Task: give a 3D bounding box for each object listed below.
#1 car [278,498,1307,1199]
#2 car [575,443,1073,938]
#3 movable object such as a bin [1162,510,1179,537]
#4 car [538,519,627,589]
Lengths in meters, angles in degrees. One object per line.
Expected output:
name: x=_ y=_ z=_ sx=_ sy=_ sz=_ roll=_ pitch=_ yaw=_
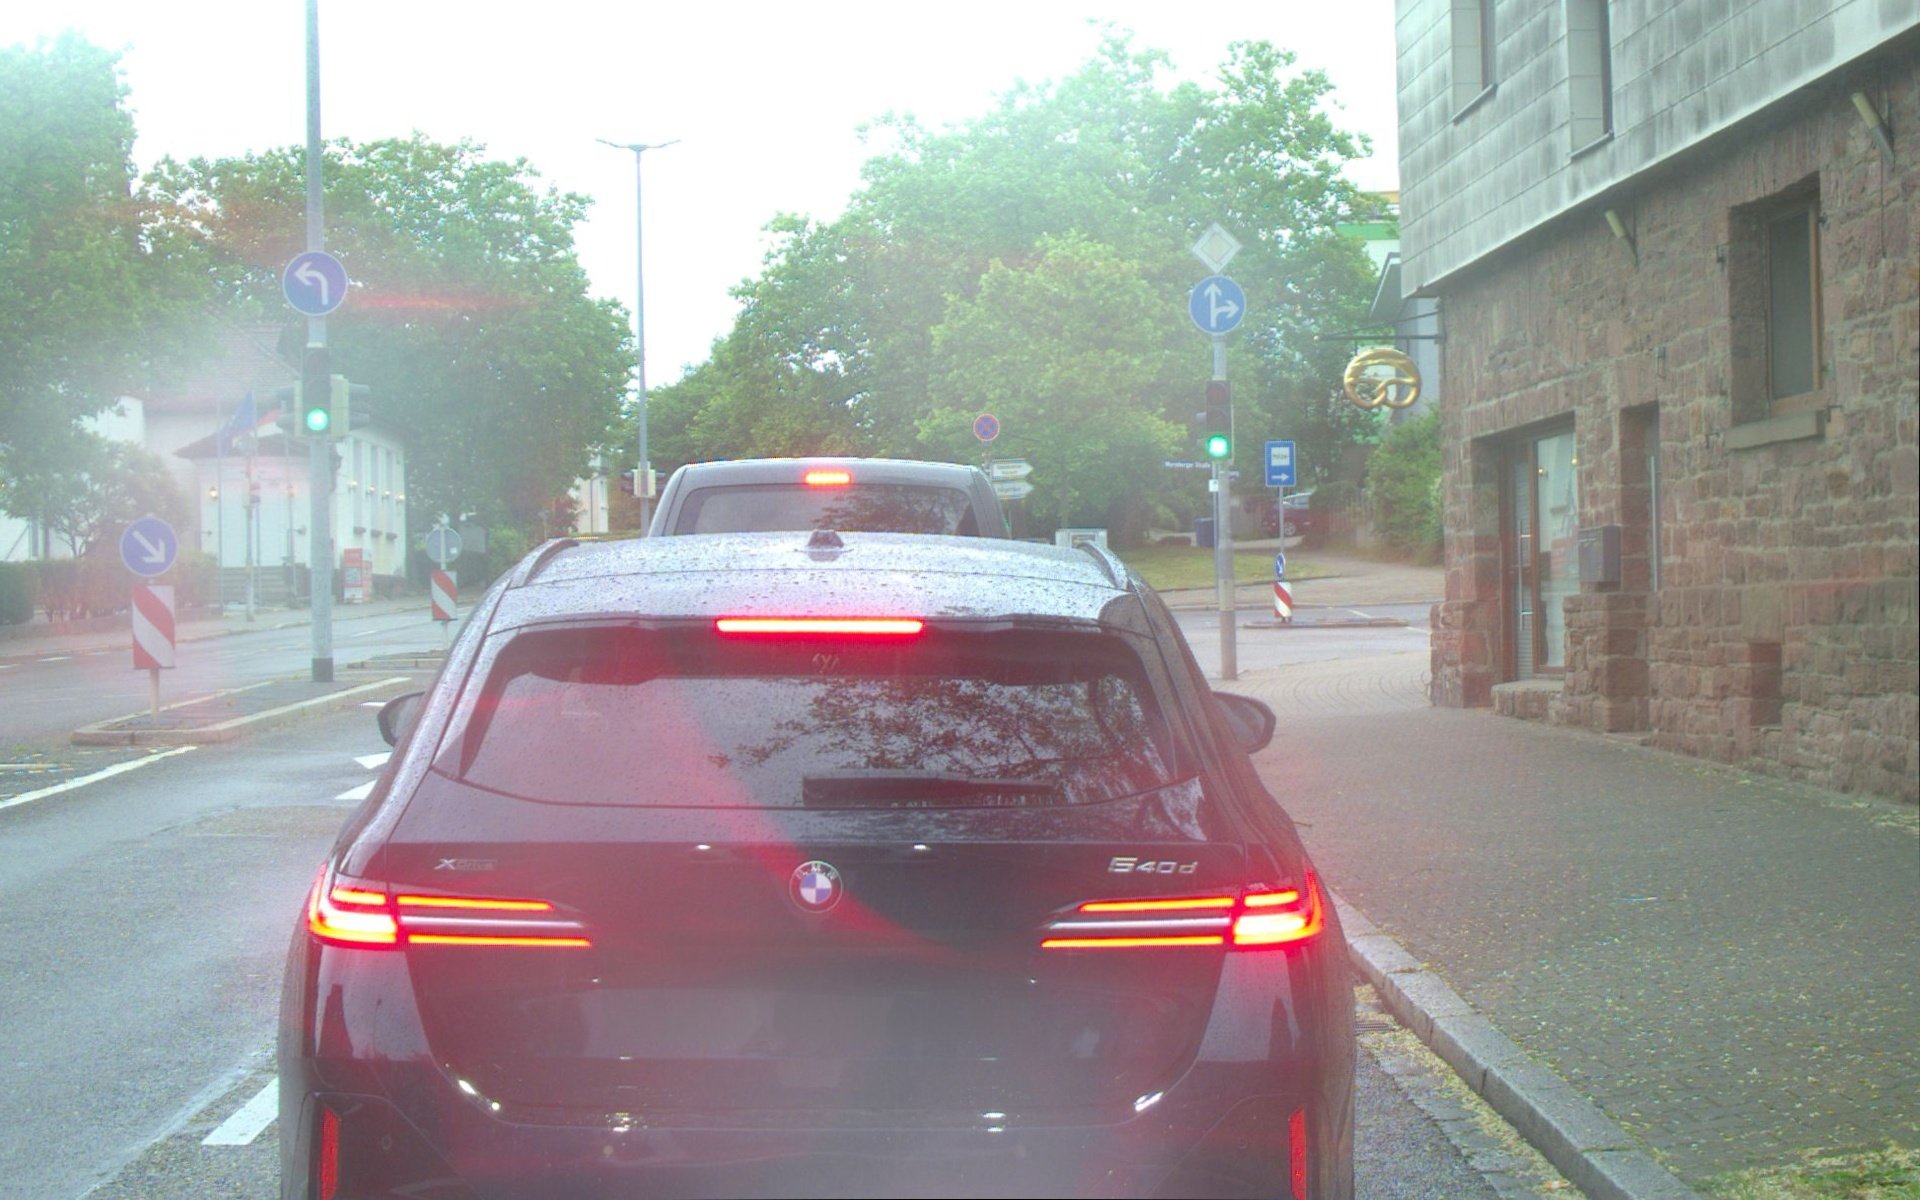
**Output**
car: x=-0.356 y=0.605 z=6.904 sx=1.523 sy=1.529 sz=3.532 roll=1 pitch=0 yaw=-4
car: x=-0.613 y=0.319 z=14.534 sx=1.812 sy=1.802 sz=3.757 roll=1 pitch=0 yaw=-4
movable object such as a bin: x=7.057 y=-2.571 z=115.259 sx=0.450 sy=0.902 sz=0.462 roll=1 pitch=0 yaw=15
car: x=-9.020 y=-1.127 z=82.438 sx=1.898 sy=1.572 sz=4.503 roll=-1 pitch=2 yaw=-4
